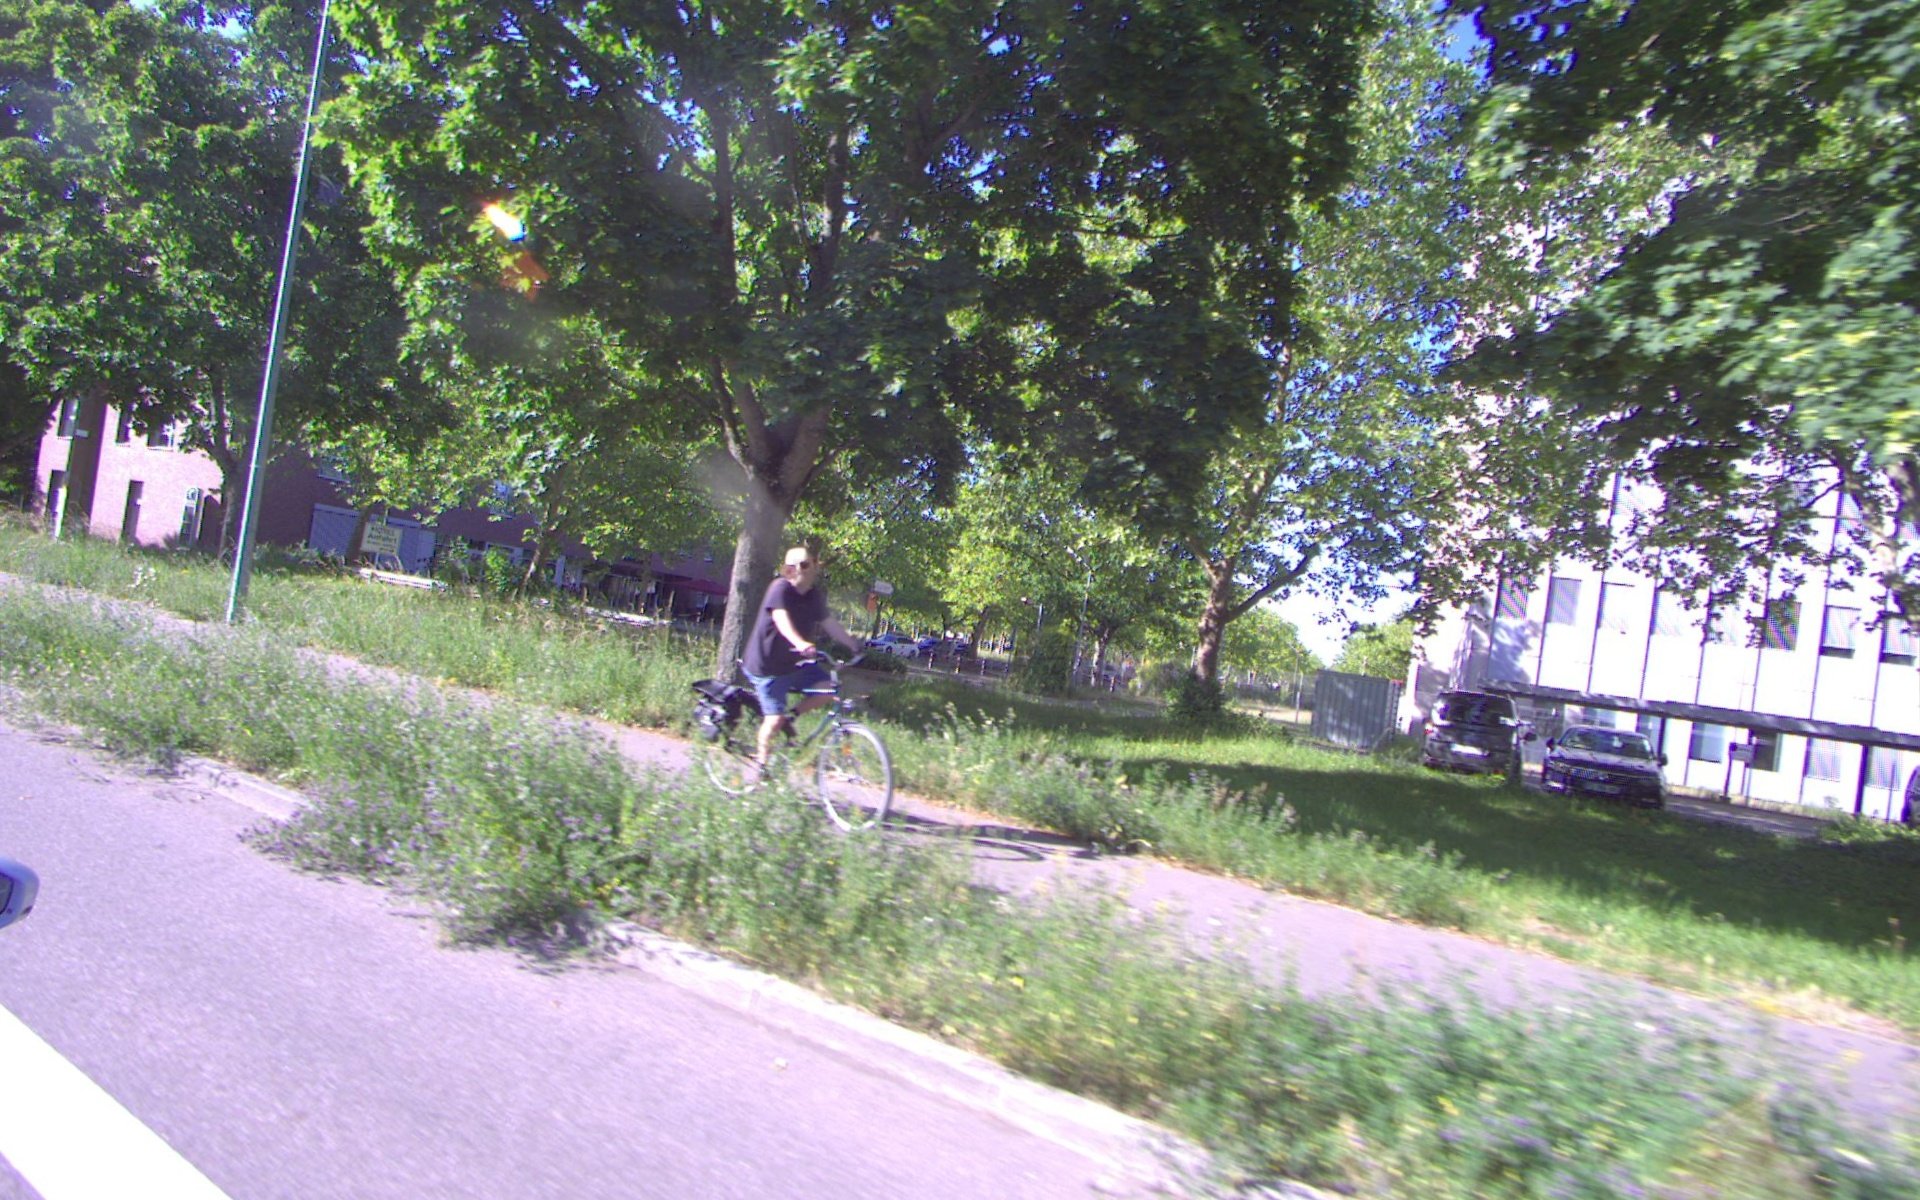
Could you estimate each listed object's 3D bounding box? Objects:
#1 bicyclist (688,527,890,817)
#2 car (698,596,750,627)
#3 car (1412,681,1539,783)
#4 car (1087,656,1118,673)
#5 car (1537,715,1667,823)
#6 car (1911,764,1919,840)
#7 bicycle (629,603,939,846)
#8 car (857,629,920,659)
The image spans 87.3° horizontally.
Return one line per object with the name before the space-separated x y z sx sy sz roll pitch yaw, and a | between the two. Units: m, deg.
bicyclist | -1.130 0.457 6.690 0.888 1.740 0.684 7 -1 32
car | -18.829 0.936 80.282 1.839 1.849 4.003 8 -3 23
car | 10.109 2.537 19.579 1.710 1.522 4.038 7 -2 32
car | 15.174 6.874 106.904 1.800 1.305 4.231 7 -3 28
car | 11.814 3.017 18.429 1.662 1.475 4.362 7 -2 35
car | 24.507 5.022 23.798 1.926 2.036 4.593 7 -2 33
bicycle | -1.223 0.757 6.668 2.108 1.218 0.483 7 -1 32
car | -4.592 2.876 65.274 1.800 1.414 4.525 7 -3 28
